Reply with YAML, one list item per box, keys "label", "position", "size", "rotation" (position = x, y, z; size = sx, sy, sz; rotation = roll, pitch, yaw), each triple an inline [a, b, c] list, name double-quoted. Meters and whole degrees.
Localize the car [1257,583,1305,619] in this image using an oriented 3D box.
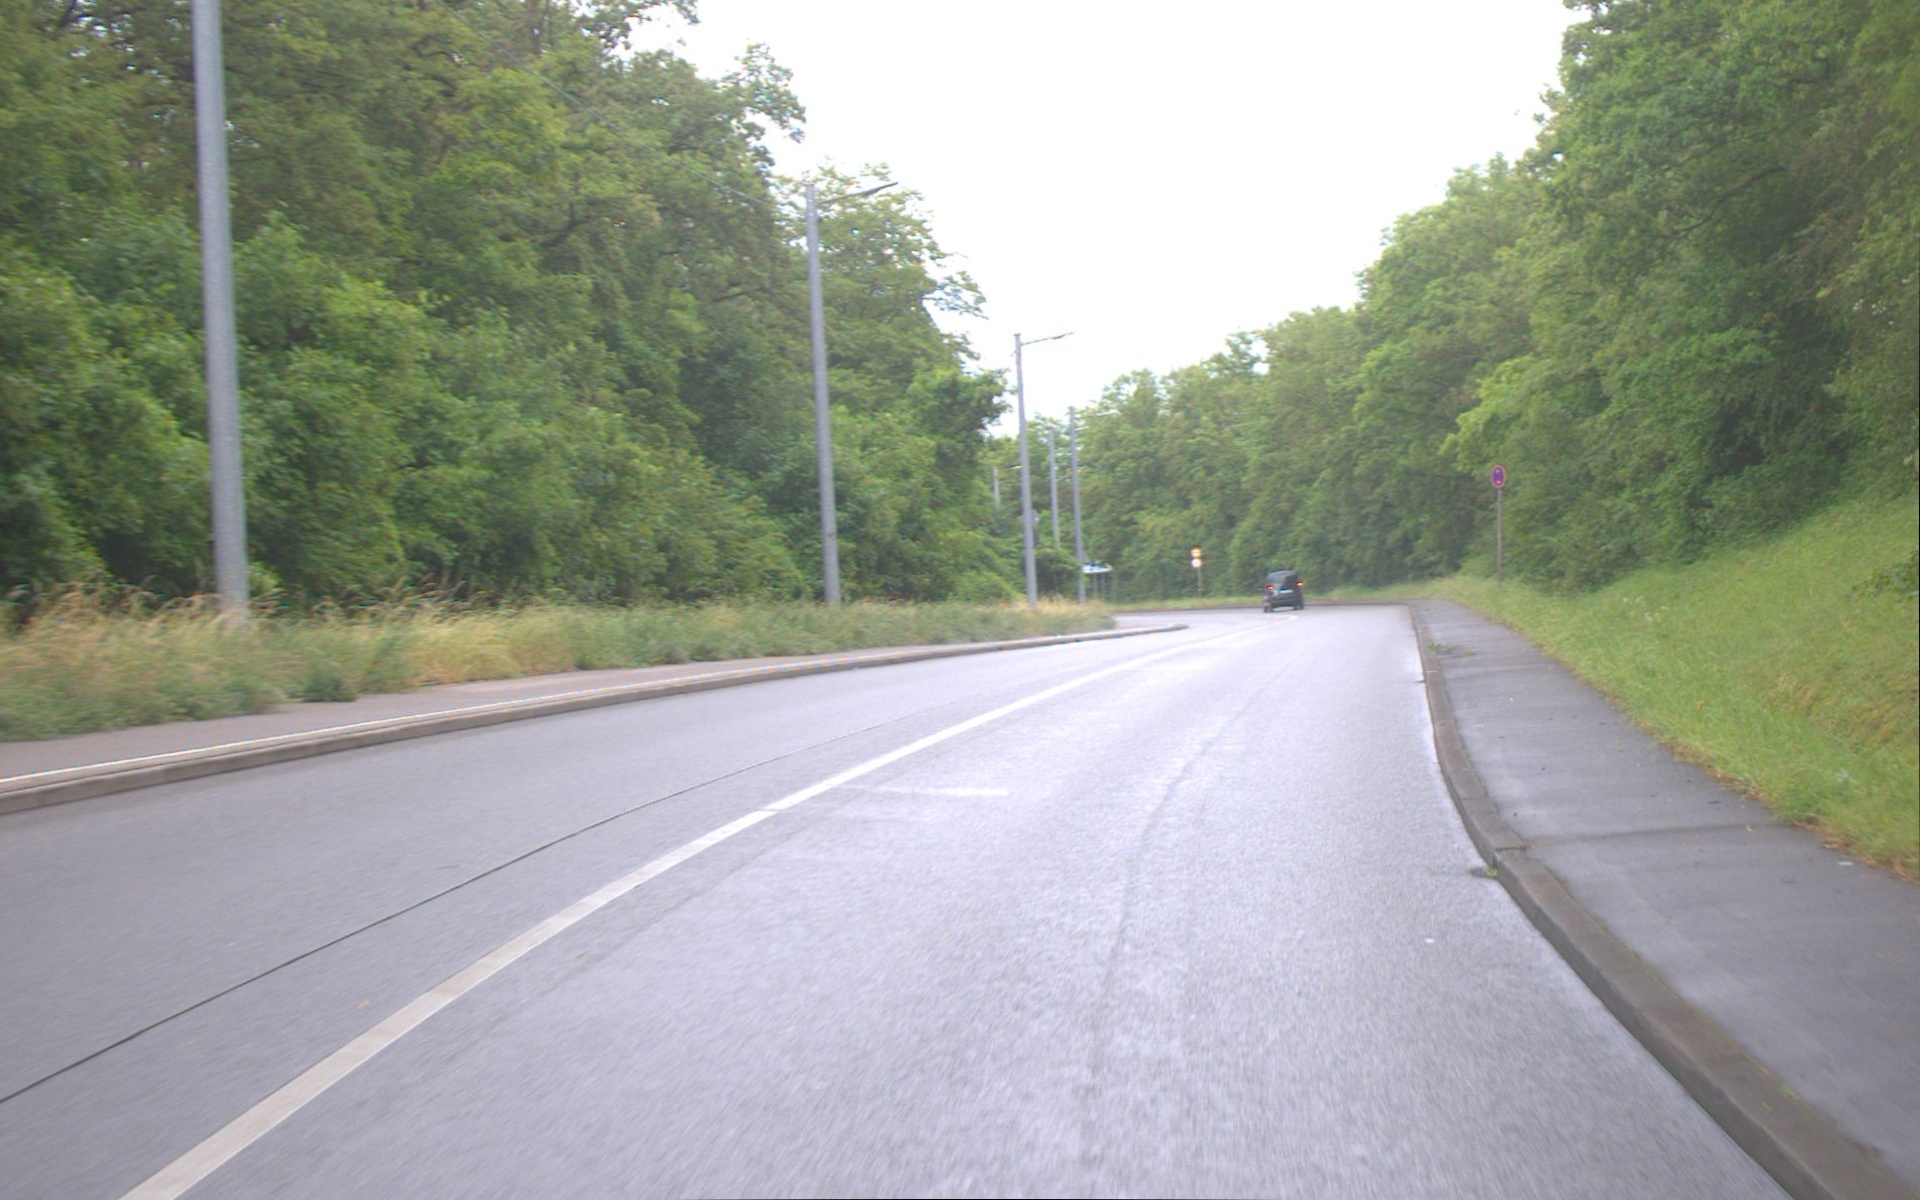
- label: "car"
  position: [15.023, 0.061, 161.077]
  size: [1.867, 1.590, 4.000]
  rotation: [1, 0, 0]
